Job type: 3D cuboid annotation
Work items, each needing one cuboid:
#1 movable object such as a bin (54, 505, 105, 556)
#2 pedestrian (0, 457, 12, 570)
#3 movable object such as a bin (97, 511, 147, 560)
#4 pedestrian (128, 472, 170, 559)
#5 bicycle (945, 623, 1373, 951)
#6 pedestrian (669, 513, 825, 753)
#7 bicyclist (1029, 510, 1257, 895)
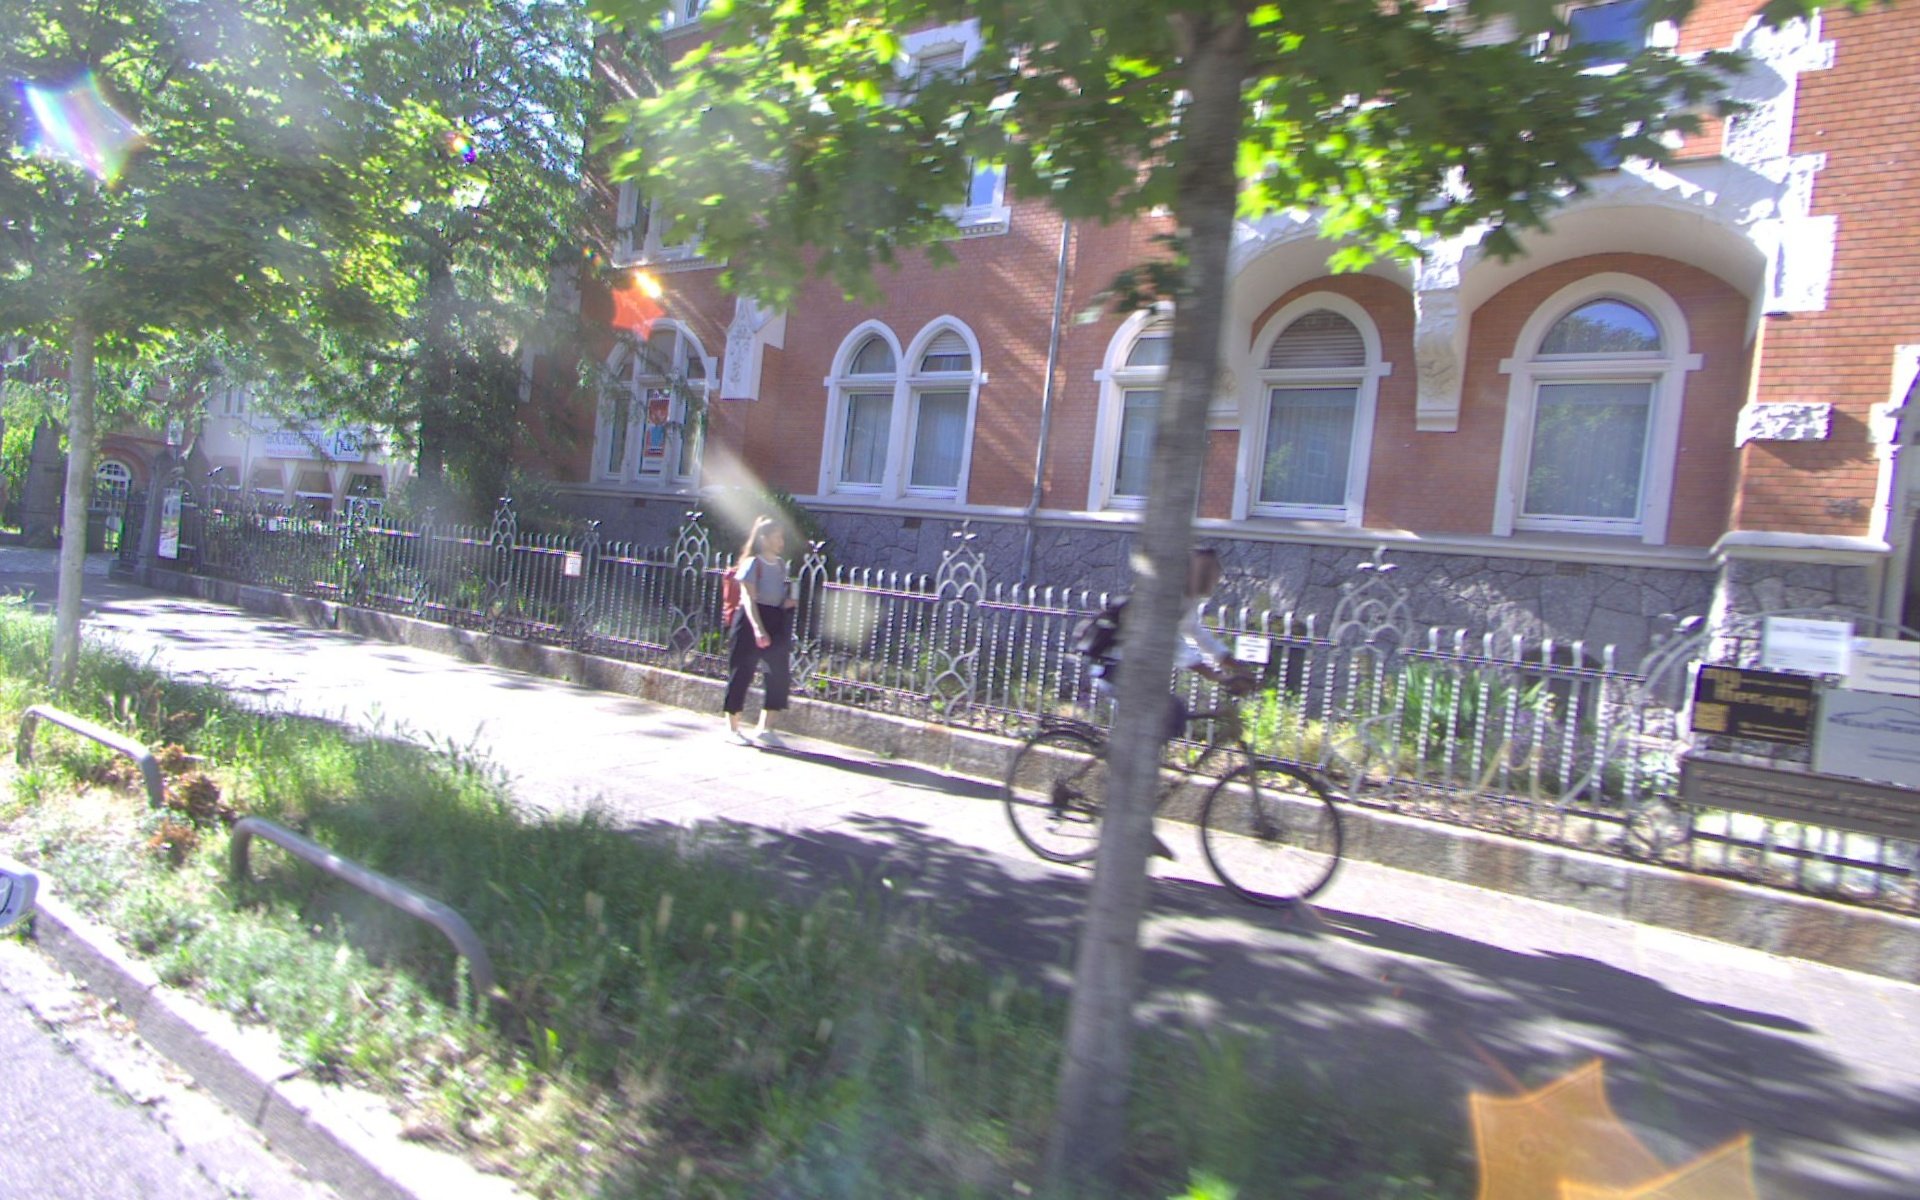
[{"bbox_3d":[-18.670,-1.473,21.339,0.656,0.978,0.625,7,3,31],"label":"movable object such as a bin"},{"bbox_3d":[-15.812,-1.429,16.199,0.744,1.812,0.800,2,4,-44],"label":"pedestrian"},{"bbox_3d":[-18.263,-1.395,21.930,0.656,0.978,0.625,7,3,31],"label":"movable object such as a bin"},{"bbox_3d":[-17.699,-1.839,21.967,0.537,1.801,0.528,5,2,-32],"label":"pedestrian"},{"bbox_3d":[0.944,0.819,5.005,1.886,1.193,0.616,7,4,28],"label":"bicycle"},{"bbox_3d":[-1.616,0.230,7.648,0.807,1.681,0.694,6,3,31],"label":"pedestrian"},{"bbox_3d":[0.916,0.458,5.016,0.806,1.714,0.620,7,4,28],"label":"bicyclist"}]
